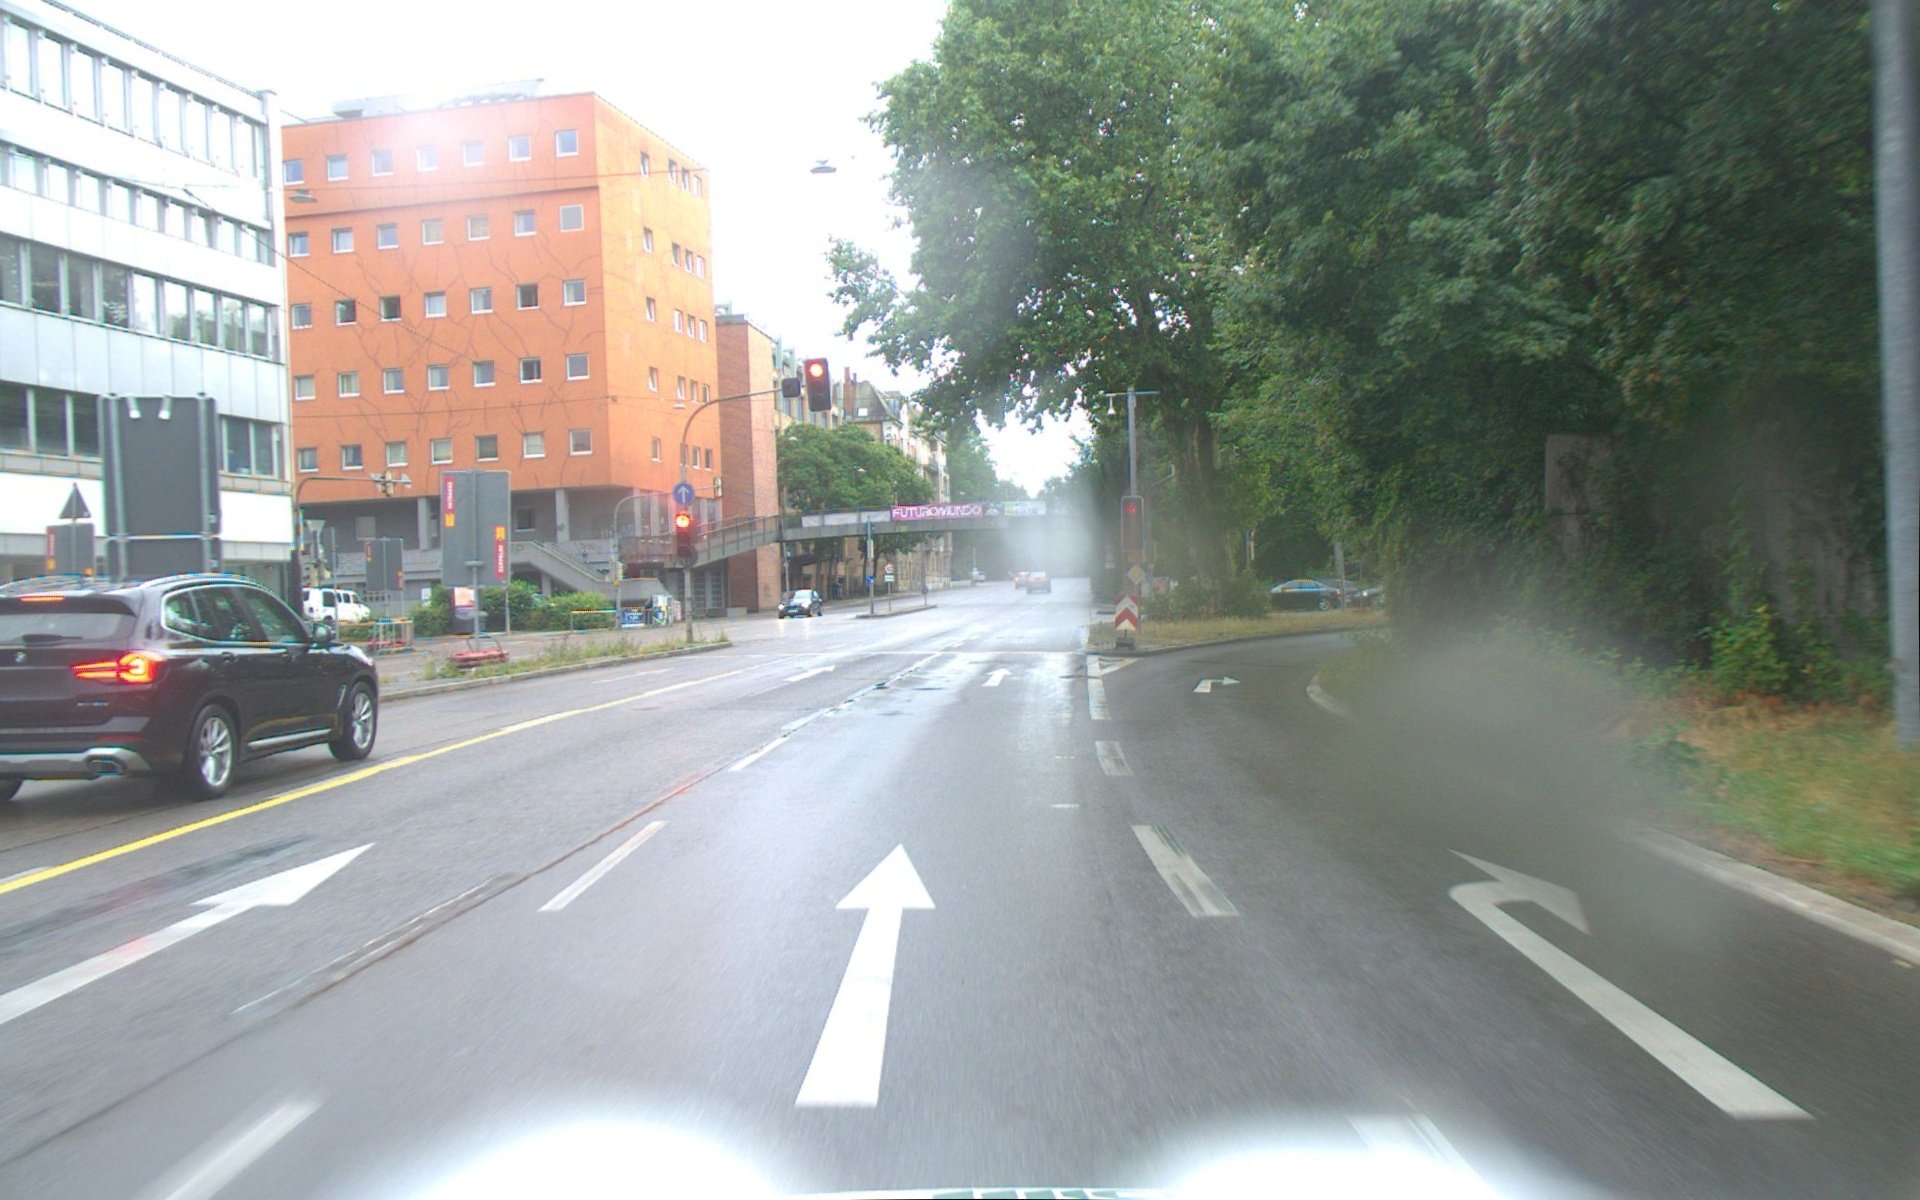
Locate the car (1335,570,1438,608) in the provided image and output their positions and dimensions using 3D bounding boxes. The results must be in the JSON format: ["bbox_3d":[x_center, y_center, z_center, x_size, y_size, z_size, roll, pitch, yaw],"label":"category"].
[{"bbox_3d":[18.361,-0.461,71.271,3.923,1.512,1.870,-1,0,-16],"label":"car"}]

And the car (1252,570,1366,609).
[{"bbox_3d":[15.236,-0.445,72.354,4.512,1.477,1.773,-2,0,-4],"label":"car"}]

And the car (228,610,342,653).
[{"bbox_3d":[-27.692,1.289,67.886,4.047,1.471,1.587,-4,0,10],"label":"car"}]

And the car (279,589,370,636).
[{"bbox_3d":[-29.909,0.560,78.030,1.951,2.049,4.855,2,0,6],"label":"car"}]

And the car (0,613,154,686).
[{"bbox_3d":[-25.629,1.415,46.688,4.666,1.768,1.997,-4,0,-6],"label":"car"}]

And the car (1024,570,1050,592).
[{"bbox_3d":[6.449,-1.632,139.603,2.077,1.765,4.199,0,1,1],"label":"car"}]

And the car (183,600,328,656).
[{"bbox_3d":[-28.042,1.099,65.884,4.968,1.878,2.002,-4,-1,12],"label":"car"}]

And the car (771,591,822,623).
[{"bbox_3d":[-8.551,0.352,86.691,1.952,1.545,4.002,-2,0,4],"label":"car"}]

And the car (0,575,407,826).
[{"bbox_3d":[-6.263,0.640,13.387,1.907,1.625,4.671,0,1,1],"label":"car"}]

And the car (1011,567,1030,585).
[{"bbox_3d":[6.112,-2.401,166.526,1.726,1.726,3.707,-4,0,3],"label":"car"}]
